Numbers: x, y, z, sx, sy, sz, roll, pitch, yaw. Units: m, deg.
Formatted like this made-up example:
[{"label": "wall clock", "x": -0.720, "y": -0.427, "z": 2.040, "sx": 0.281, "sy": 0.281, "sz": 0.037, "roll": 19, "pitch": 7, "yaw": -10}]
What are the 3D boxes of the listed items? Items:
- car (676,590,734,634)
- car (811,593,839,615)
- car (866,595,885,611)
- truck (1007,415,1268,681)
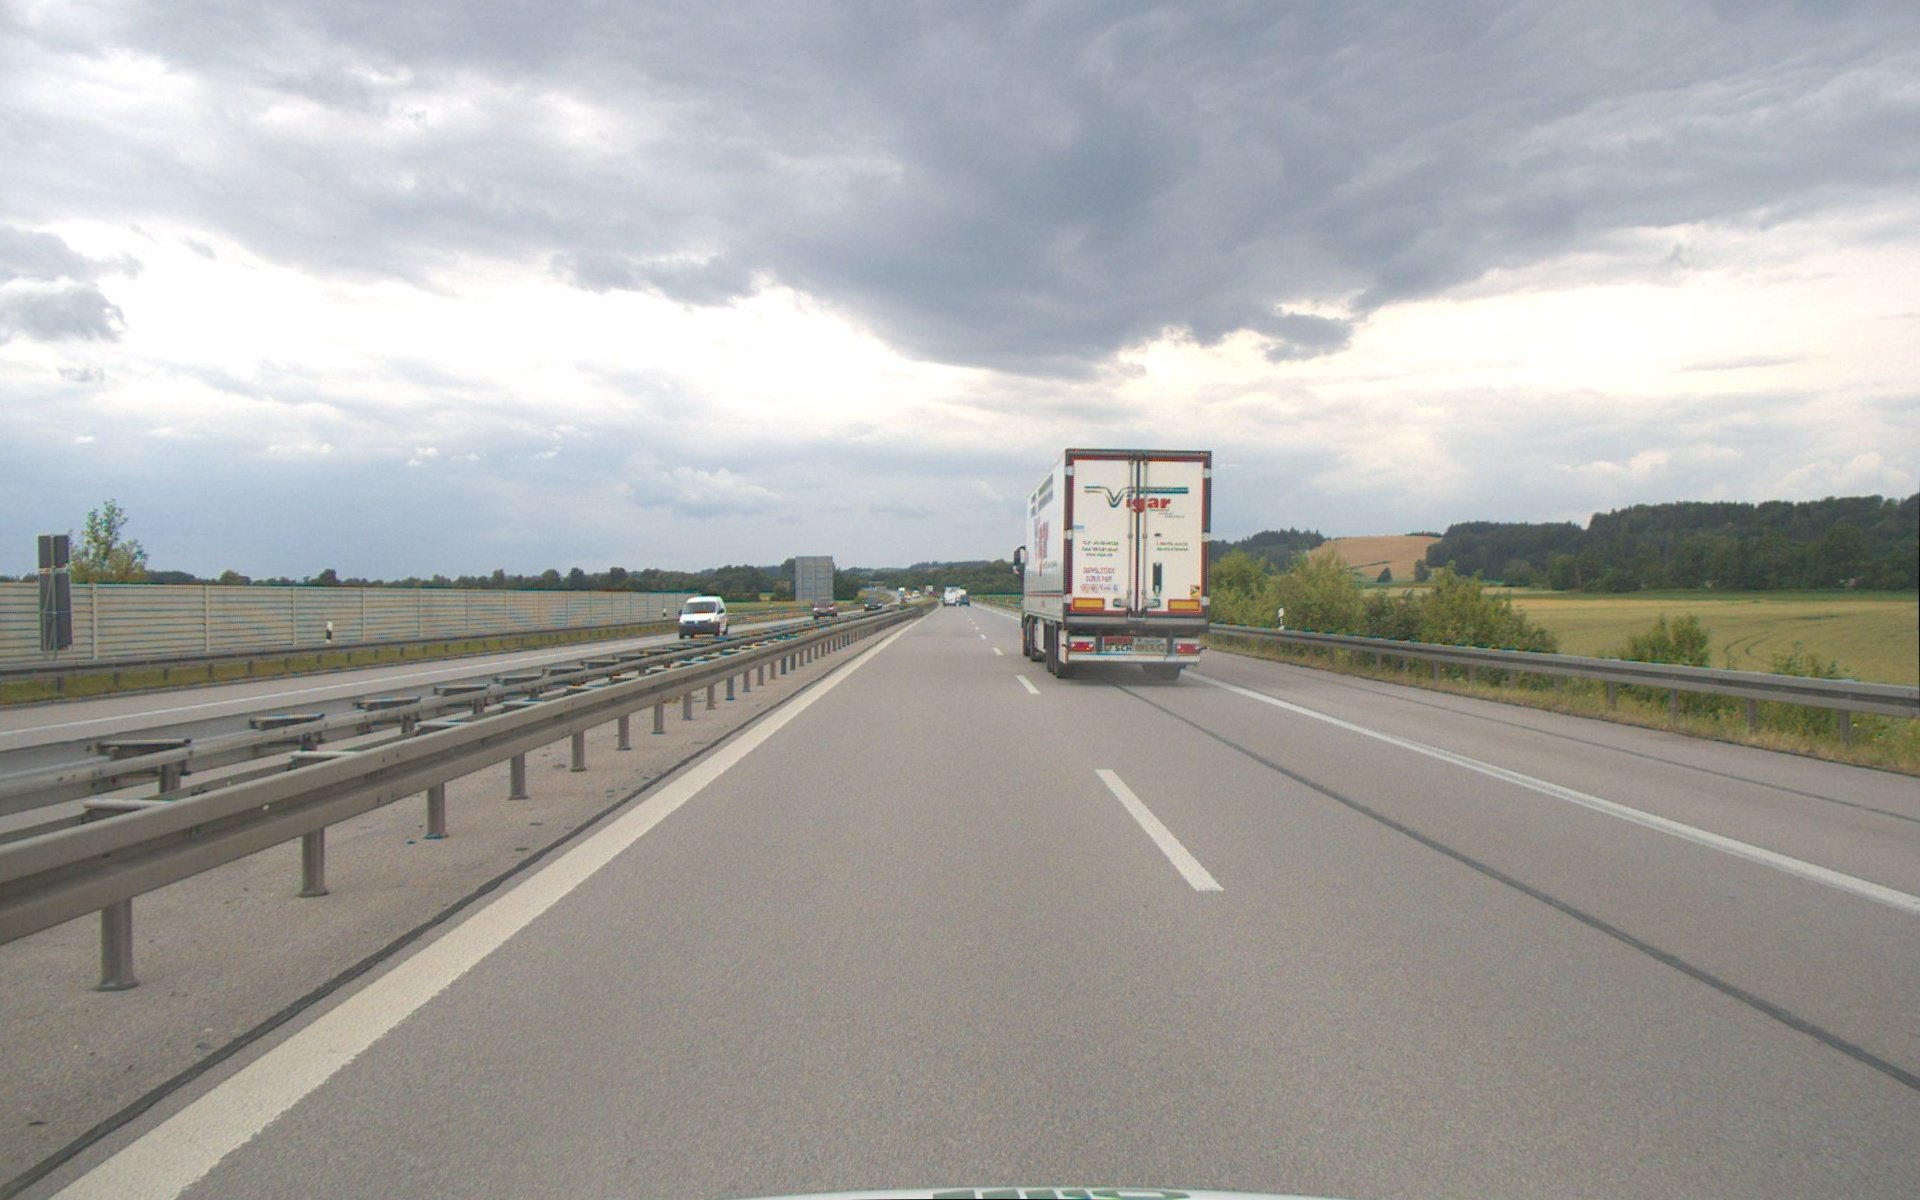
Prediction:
[{"label": "car", "x": -11.316, "y": 0.492, "z": 73.601, "sx": 1.720, "sy": 1.772, "sz": 4.913, "roll": -4, "pitch": 0, "yaw": 0}, {"label": "car", "x": -11.172, "y": 0.310, "z": 137.259, "sx": 1.857, "sy": 1.660, "sz": 4.174, "roll": -3, "pitch": 0, "yaw": 0}, {"label": "car", "x": -9.476, "y": 0.280, "z": 184.894, "sx": 1.857, "sy": 1.660, "sz": 4.174, "roll": -3, "pitch": 0, "yaw": 0}, {"label": "truck", "x": 3.263, "y": -0.975, "z": 36.322, "sx": 3.598, "sy": 4.489, "sz": 16.337, "roll": -1, "pitch": 1, "yaw": -1}]
